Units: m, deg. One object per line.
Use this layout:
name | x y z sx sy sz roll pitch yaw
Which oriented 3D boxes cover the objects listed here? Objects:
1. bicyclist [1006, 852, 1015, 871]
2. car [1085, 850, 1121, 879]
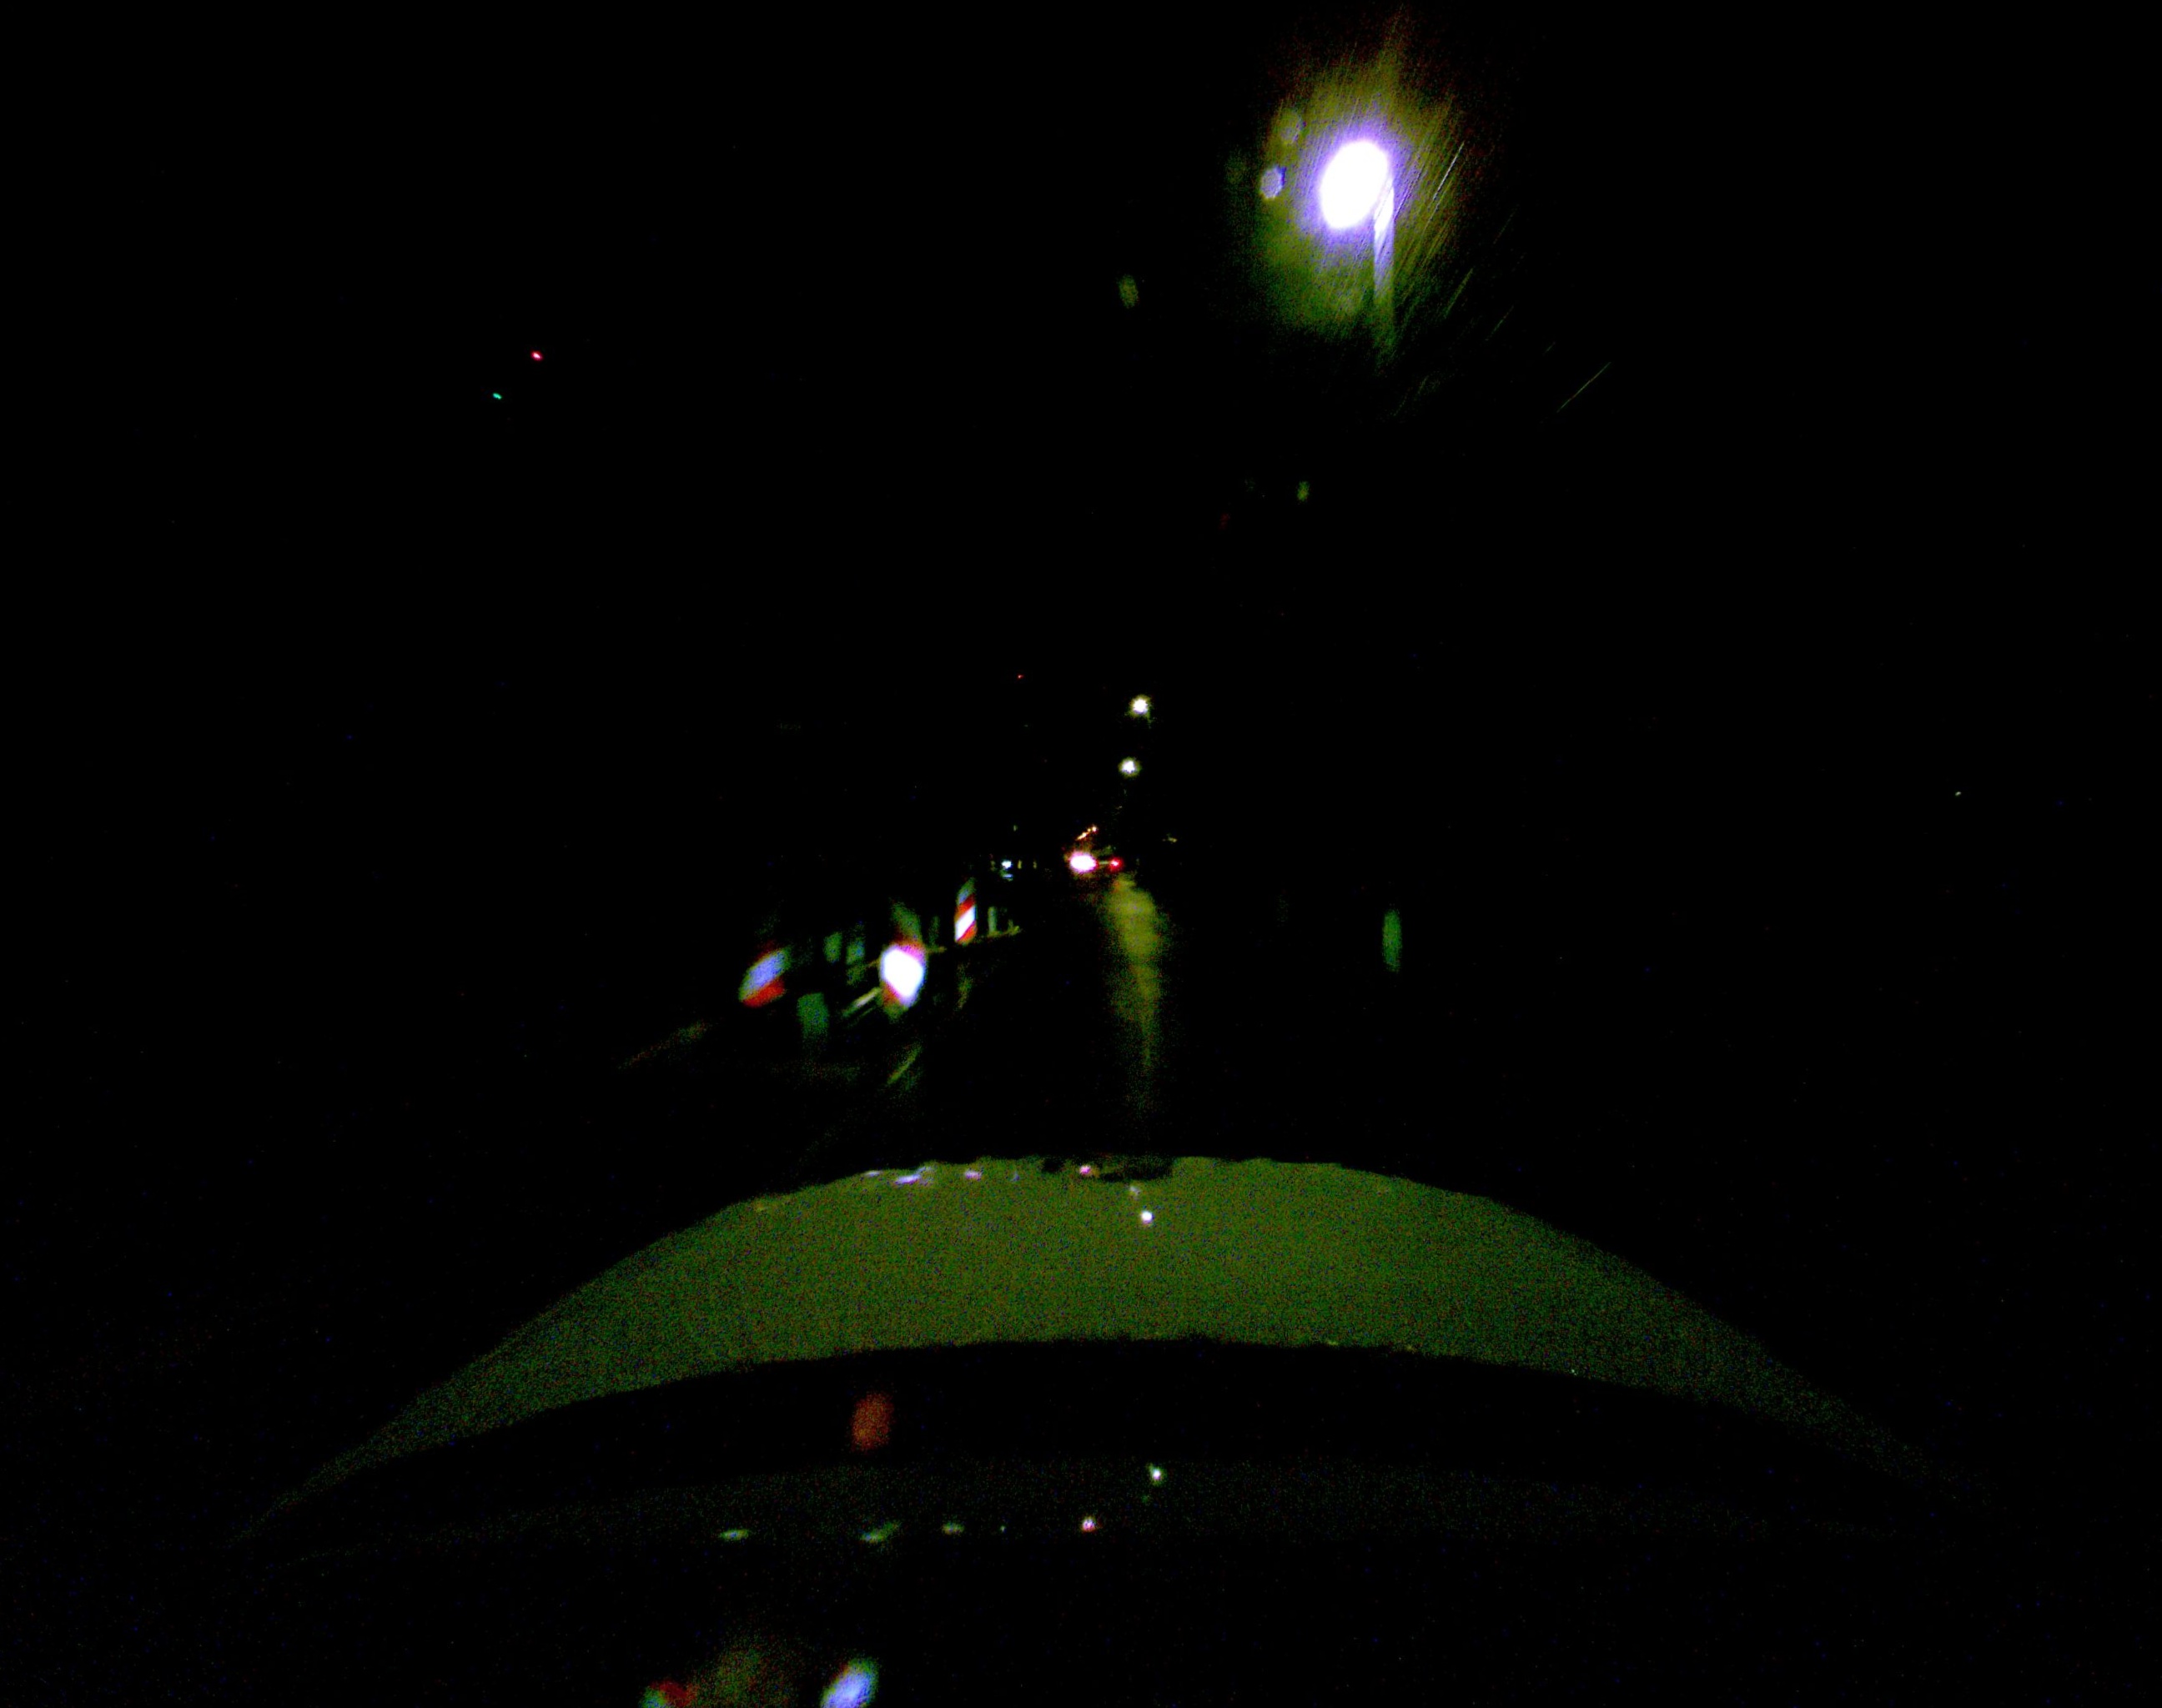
bicyclist | -5.972 0.649 69.314 0.634 1.595 0.960 -1 1 0
car | 1.328 0.637 50.151 1.988 1.684 3.998 -1 0 -1
